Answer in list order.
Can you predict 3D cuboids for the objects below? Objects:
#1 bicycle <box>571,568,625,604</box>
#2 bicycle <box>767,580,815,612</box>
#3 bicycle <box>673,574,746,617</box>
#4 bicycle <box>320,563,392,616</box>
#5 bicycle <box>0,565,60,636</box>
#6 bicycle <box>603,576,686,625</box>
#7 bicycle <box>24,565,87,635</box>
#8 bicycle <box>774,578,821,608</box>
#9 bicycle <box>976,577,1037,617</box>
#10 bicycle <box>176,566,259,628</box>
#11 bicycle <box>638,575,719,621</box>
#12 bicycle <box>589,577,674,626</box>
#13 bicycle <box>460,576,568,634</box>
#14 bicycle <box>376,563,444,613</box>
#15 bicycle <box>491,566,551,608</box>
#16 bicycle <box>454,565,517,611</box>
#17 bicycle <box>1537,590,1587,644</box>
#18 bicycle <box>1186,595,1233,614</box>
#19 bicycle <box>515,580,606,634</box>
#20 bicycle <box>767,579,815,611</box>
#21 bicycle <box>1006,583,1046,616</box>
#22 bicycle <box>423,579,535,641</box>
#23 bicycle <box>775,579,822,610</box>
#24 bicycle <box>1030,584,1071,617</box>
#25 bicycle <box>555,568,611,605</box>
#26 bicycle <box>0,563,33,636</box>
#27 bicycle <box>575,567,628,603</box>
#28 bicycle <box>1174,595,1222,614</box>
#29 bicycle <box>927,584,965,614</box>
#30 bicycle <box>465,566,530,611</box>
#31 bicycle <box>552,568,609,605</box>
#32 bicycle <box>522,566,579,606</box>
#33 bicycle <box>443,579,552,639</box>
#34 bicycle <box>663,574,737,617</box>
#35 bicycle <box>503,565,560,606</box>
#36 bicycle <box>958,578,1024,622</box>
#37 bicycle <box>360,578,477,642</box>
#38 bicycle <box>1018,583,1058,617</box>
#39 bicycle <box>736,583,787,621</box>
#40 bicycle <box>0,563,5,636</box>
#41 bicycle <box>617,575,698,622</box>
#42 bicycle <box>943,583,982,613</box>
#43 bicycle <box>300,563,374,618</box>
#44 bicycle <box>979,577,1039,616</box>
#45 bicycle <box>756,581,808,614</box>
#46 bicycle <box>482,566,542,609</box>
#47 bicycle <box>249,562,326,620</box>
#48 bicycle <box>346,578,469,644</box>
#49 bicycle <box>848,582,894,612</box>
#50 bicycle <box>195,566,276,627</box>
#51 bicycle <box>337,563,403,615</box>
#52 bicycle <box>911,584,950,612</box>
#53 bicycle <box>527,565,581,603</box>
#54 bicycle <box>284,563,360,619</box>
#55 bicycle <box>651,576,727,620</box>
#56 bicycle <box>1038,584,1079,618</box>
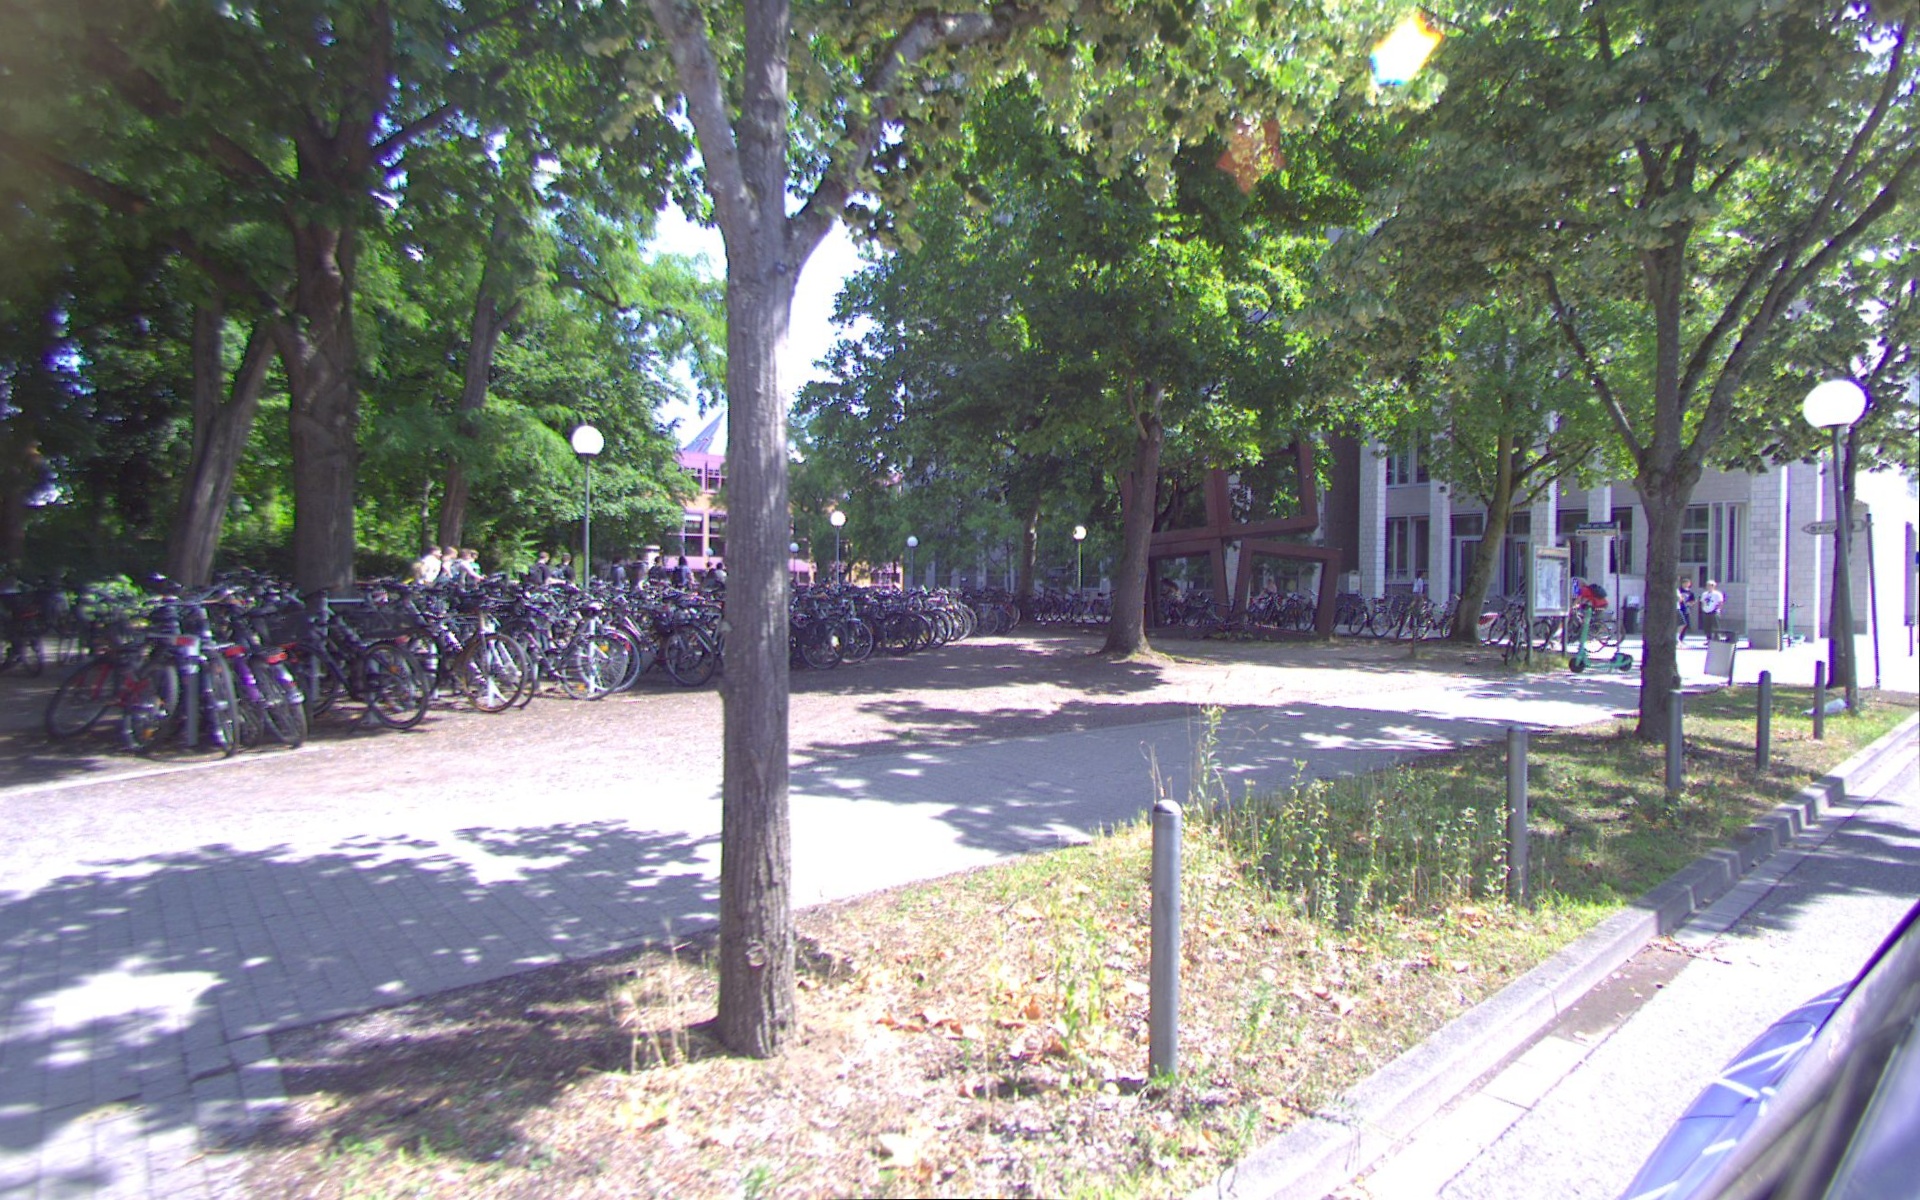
[{"bbox_3d":[-11.545,-0.462,32.256,1.581,1.107,0.348,1,1,1],"label":"bicycle"},{"bbox_3d":[-5.834,-0.133,34.977,1.653,1.098,0.479,0,-2,-8],"label":"bicycle"},{"bbox_3d":[-6.294,-0.125,25.378,1.880,0.991,0.376,2,2,20],"label":"bicycle"},{"bbox_3d":[-13.314,-0.246,22.309,1.591,1.107,0.475,2,2,21],"label":"bicycle"},{"bbox_3d":[-15.416,-0.013,16.731,1.598,1.107,0.344,2,2,31],"label":"bicycle"},{"bbox_3d":[-6.903,-0.006,22.129,1.880,0.991,0.376,2,2,20],"label":"bicycle"},{"bbox_3d":[-15.242,-0.019,17.043,1.598,1.107,0.344,2,2,31],"label":"bicycle"},{"bbox_3d":[-5.977,-0.246,37.236,1.655,1.098,0.479,0,-2,-2],"label":"bicycle"},{"bbox_3d":[1.420,-0.093,30.908,1.816,1.185,0.412,1,1,11],"label":"bicycle"},{"bbox_3d":[-14.166,-0.066,19.304,1.591,1.107,0.475,2,2,21],"label":"bicycle"},{"bbox_3d":[-6.628,-0.056,23.813,1.880,0.991,0.476,2,2,20],"label":"bicycle"},{"bbox_3d":[-7.053,0.019,21.707,1.880,0.991,0.376,2,2,20],"label":"bicycle"},{"bbox_3d":[-8.201,0.088,18.623,1.873,0.991,0.477,2,2,11],"label":"bicycle"},{"bbox_3d":[-12.873,-0.290,23.693,1.591,1.107,0.475,2,2,21],"label":"bicycle"},{"bbox_3d":[-11.932,-0.356,27.533,1.586,1.107,0.347,2,1,12],"label":"bicycle"},{"bbox_3d":[-11.903,-0.316,25.383,1.587,1.107,0.346,2,2,14],"label":"bicycle"},{"bbox_3d":[13.662,0.376,22.967,1.465,1.155,0.560,-1,3,-44],"label":"bicycle"},{"bbox_3d":[11.271,0.211,45.715,1.981,0.769,0.634,3,1,40],"label":"bicycle"},{"bbox_3d":[-7.835,0.122,19.836,1.880,0.991,0.376,2,2,20],"label":"bicycle"},{"bbox_3d":[-5.908,-0.160,35.457,1.653,1.098,0.479,0,-2,-8],"label":"bicycle"},{"bbox_3d":[2.378,0.003,36.171,0.477,1.144,1.661,-2,-2,44],"label":"bicycle"},{"bbox_3d":[-8.303,0.167,17.461,1.873,0.991,0.377,2,1,11],"label":"bicycle"},{"bbox_3d":[-5.783,-0.193,36.292,1.653,1.098,0.479,0,-2,-8],"label":"bicycle"},{"bbox_3d":[3.166,0.031,35.264,0.477,1.144,1.661,-2,-2,44],"label":"bicycle"},{"bbox_3d":[-11.718,-0.434,31.470,1.578,1.107,0.348,1,1,-7],"label":"bicycle"},{"bbox_3d":[-15.421,-0.039,16.000,1.734,1.107,0.475,2,2,24],"label":"bicycle"},{"bbox_3d":[-11.547,-0.479,32.604,1.581,1.107,0.348,1,1,1],"label":"bicycle"},{"bbox_3d":[10.631,0.197,45.258,1.981,0.769,0.634,3,1,40],"label":"bicycle"},{"bbox_3d":[-0.531,-0.031,39.332,0.477,1.098,1.661,-2,-2,44],"label":"bicycle"},{"bbox_3d":[-12.046,-0.308,26.364,1.586,1.107,0.477,2,2,12],"label":"bicycle"},{"bbox_3d":[-11.661,-0.415,31.122,1.578,1.107,0.348,1,1,-7],"label":"bicycle"},{"bbox_3d":[-11.840,-0.424,29.268,1.586,1.107,0.347,2,1,12],"label":"bicycle"},{"bbox_3d":[-8.166,0.143,17.855,1.873,0.991,0.377,2,1,11],"label":"bicycle"},{"bbox_3d":[-6.429,-0.123,24.979,1.880,0.991,0.376,2,2,20],"label":"bicycle"},{"bbox_3d":[-12.106,-0.408,28.592,1.586,1.107,0.347,2,1,12],"label":"bicycle"},{"bbox_3d":[0.869,-0.011,28.658,1.816,1.185,0.412,1,1,11],"label":"bicycle"},{"bbox_3d":[-8.968,0.153,16.761,1.873,0.991,0.377,2,1,11],"label":"bicycle"},{"bbox_3d":[2.765,0.009,35.691,0.477,1.144,1.661,-2,-2,44],"label":"bicycle"},{"bbox_3d":[-5.820,0.066,29.639,1.442,1.098,0.353,0,-2,-6],"label":"bicycle"},{"bbox_3d":[-15.550,-0.031,15.678,1.734,1.107,0.475,2,2,24],"label":"bicycle"},{"bbox_3d":[-6.846,-0.041,22.875,1.880,0.991,0.376,2,2,20],"label":"bicycle"},{"bbox_3d":[0.114,-0.053,38.625,0.477,1.098,1.661,-2,-2,44],"label":"bicycle"},{"bbox_3d":[-13.287,-0.210,21.582,1.591,1.107,0.475,2,2,21],"label":"bicycle"},{"bbox_3d":[1.535,-0.122,31.616,1.816,1.185,0.412,1,1,11],"label":"bicycle"},{"bbox_3d":[-5.933,-0.073,33.764,1.657,1.098,0.478,0,-2,4],"label":"bicycle"},{"bbox_3d":[-12.027,-0.345,27.161,1.586,1.107,0.347,2,1,12],"label":"bicycle"},{"bbox_3d":[-13.714,-0.192,20.635,1.591,1.107,0.475,2,2,21],"label":"bicycle"},{"bbox_3d":[-8.927,0.167,16.355,1.873,0.991,0.477,2,2,11],"label":"bicycle"},{"bbox_3d":[-3.287,-0.105,37.465,1.653,1.098,0.479,0,-2,-9],"label":"bicycle"},{"bbox_3d":[-14.092,-0.080,19.678,1.591,1.107,0.475,2,2,21],"label":"bicycle"},{"bbox_3d":[-13.200,-0.255,22.642,1.591,1.107,0.346,2,2,21],"label":"bicycle"},{"bbox_3d":[-1.162,-0.069,39.978,0.477,1.098,1.661,-2,-2,44],"label":"bicycle"},{"bbox_3d":[-12.118,-0.485,30.208,1.586,1.107,0.347,2,1,12],"label":"bicycle"},{"bbox_3d":[-13.397,-0.200,21.248,1.591,1.107,0.475,2,2,21],"label":"bicycle"},{"bbox_3d":[-6.490,-0.053,24.205,1.880,0.991,0.376,2,2,20],"label":"bicycle"},{"bbox_3d":[3.394,0.049,34.749,0.453,1.144,1.661,-2,-2,44],"label":"bicycle"}]
